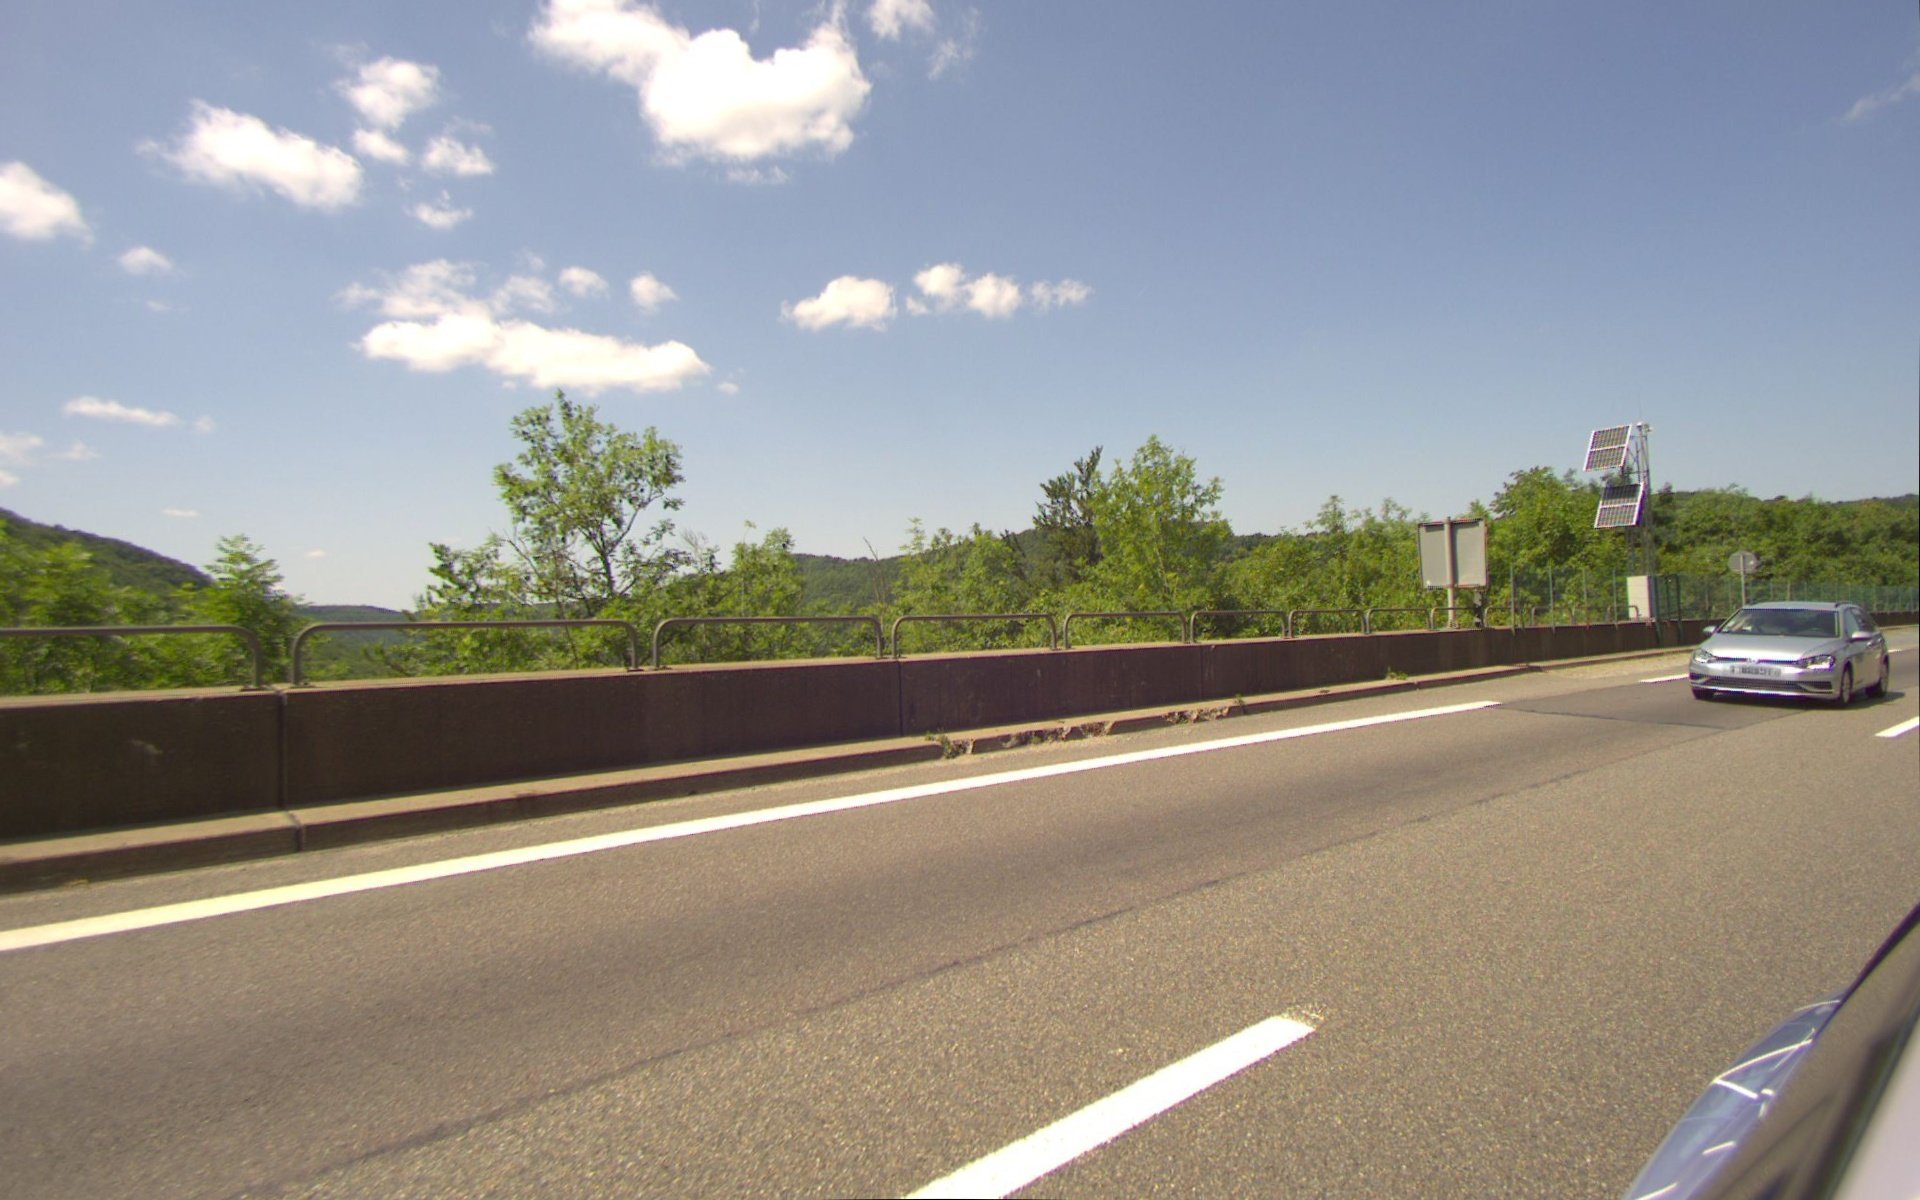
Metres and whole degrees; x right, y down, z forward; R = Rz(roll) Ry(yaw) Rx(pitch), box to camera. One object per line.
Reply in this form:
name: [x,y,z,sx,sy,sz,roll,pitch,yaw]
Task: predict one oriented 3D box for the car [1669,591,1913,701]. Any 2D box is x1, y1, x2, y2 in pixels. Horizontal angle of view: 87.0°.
car: [12.528,0.578,15.179,4.216,1.395,1.973,-1,1,-38]
